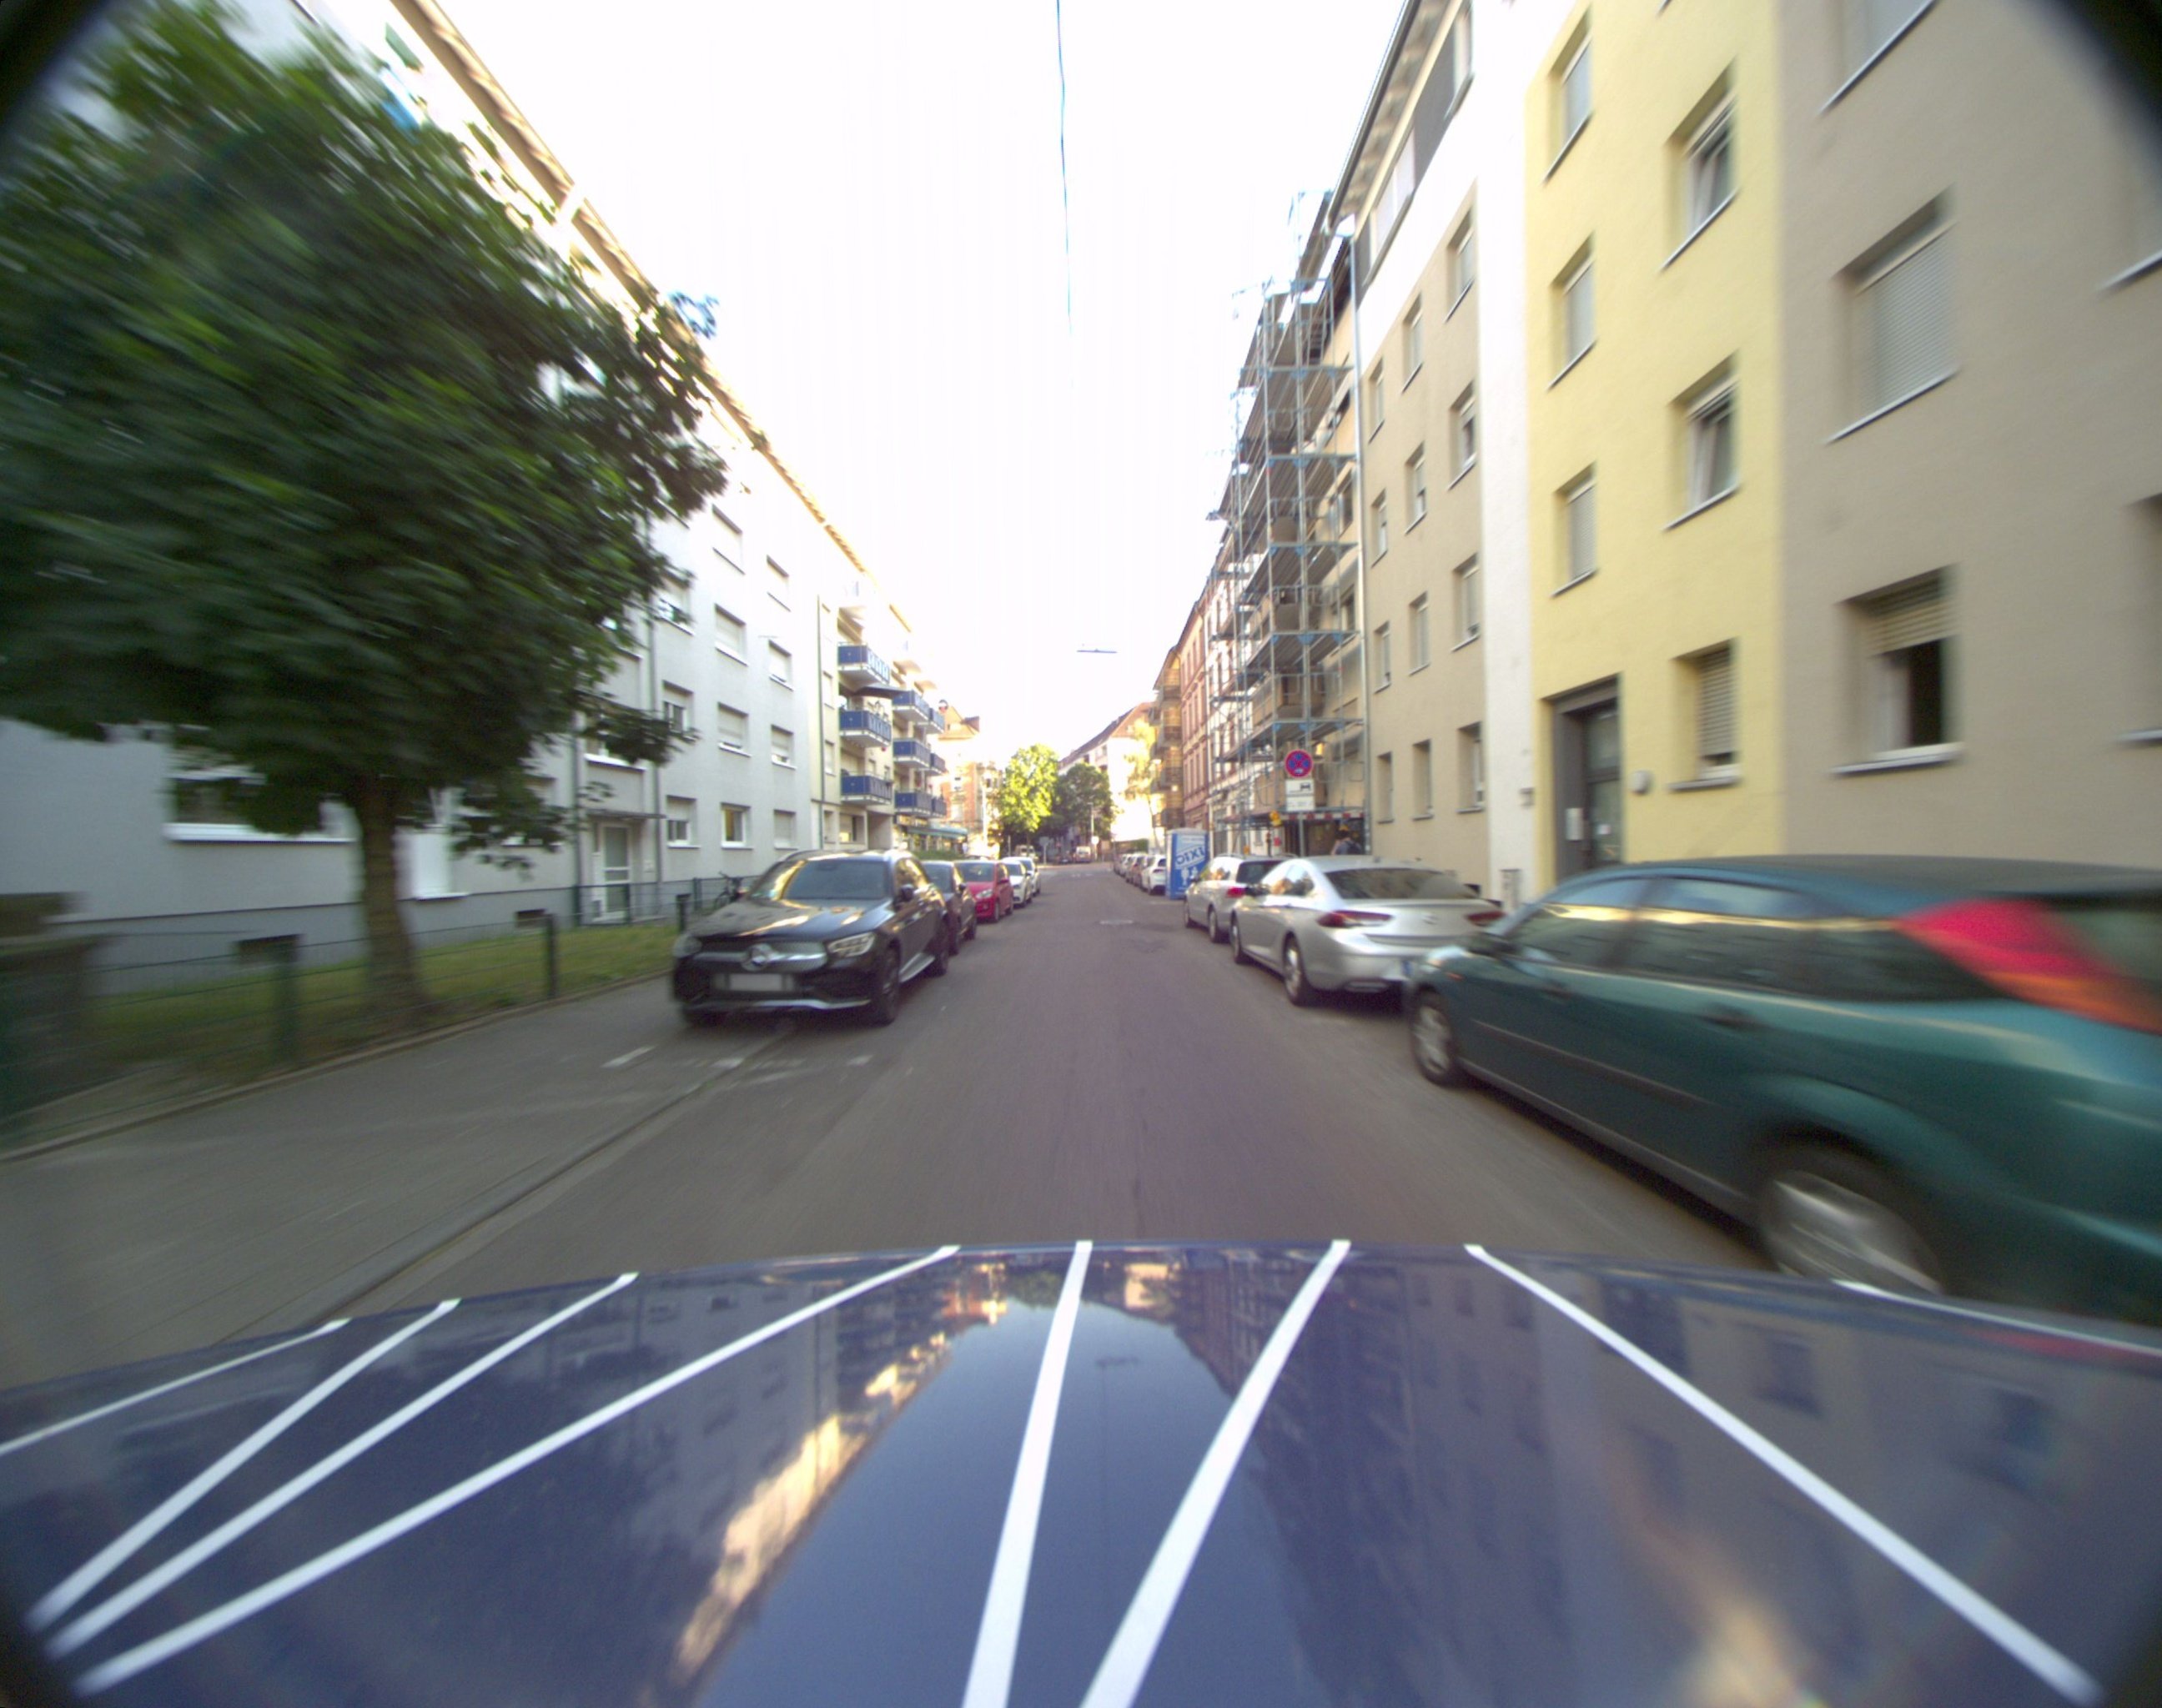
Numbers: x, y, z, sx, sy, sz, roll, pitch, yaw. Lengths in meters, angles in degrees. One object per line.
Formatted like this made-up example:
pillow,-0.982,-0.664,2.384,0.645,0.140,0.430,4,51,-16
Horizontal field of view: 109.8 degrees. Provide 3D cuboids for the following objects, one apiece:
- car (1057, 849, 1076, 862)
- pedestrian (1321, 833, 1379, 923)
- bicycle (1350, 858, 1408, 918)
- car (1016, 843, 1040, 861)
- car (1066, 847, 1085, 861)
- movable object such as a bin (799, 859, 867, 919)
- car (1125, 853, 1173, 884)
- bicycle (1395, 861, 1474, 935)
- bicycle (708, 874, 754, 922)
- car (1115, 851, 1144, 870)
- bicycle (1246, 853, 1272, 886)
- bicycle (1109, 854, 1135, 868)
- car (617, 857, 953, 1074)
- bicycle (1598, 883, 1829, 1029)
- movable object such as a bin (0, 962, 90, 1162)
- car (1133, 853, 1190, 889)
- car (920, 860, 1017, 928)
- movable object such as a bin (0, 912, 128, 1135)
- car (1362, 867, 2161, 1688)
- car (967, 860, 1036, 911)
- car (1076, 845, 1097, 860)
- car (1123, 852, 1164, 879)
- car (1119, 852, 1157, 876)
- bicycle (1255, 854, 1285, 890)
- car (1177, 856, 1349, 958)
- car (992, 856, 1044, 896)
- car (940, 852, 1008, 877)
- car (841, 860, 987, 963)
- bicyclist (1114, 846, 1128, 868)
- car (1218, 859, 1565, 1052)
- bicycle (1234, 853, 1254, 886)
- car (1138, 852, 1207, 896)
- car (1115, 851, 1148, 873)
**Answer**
car,-1.656,0.120,87.298,1.829,1.496,3.997,0,1,-6
pedestrian,5.419,0.458,15.357,0.791,1.750,1.092,0,1,1
bicycle,6.309,0.693,16.190,0.405,1.162,1.816,-4,1,-2
car,-7.011,-0.245,99.906,2.163,2.270,6.200,0,1,-13
car,-0.739,-0.037,96.855,2.081,1.760,4.215,0,1,-6
movable object such as a bin,-6.205,0.863,19.090,1.287,1.428,1.223,0,1,0
car,3.385,0.690,38.352,1.999,1.423,3.999,0,1,-1
bicycle,6.247,0.743,13.525,0.479,1.162,1.732,-4,1,-2
bicycle,-8.697,1.078,18.959,0.602,1.084,1.738,0,1,-10
car,3.765,0.464,60.009,1.999,1.462,3.846,0,1,-1
bicycle,6.560,0.555,28.027,0.405,1.162,1.816,-4,1,-2
bicycle,3.405,0.548,62.487,2.106,1.162,0.567,0,1,-1
car,-2.699,0.879,8.287,1.876,1.626,4.721,0,1,-1
bicycle,6.104,0.916,7.506,0.611,1.162,1.924,0,1,-2
movable object such as a bin,-6.315,1.191,4.314,0.529,1.065,0.625,0,1,0
car,3.424,0.693,33.037,1.999,1.439,3.999,0,1,-1
car,-2.668,0.905,18.837,1.680,1.474,3.652,0,1,3
movable object such as a bin,-7.255,1.066,4.693,1.264,1.313,1.139,0,1,0
car,3.007,0.861,3.537,1.783,1.480,4.420,0,1,0
car,-2.400,0.916,23.777,1.680,1.411,4.135,0,1,1
car,0.578,-0.174,91.092,2.081,1.760,4.215,0,1,-6
car,3.552,0.625,43.773,1.999,1.423,3.999,0,1,-1
car,3.590,0.613,48.443,1.999,1.423,3.999,0,1,-1
bicycle,6.476,0.596,26.095,0.442,1.162,1.816,-4,1,-2
car,3.043,0.799,13.761,1.927,1.480,4.616,0,1,-1
car,-2.404,0.814,29.965,1.680,1.411,4.135,0,1,0
car,-6.619,0.633,47.448,3.997,1.556,1.999,0,1,-2
car,-2.716,0.873,13.141,1.680,1.474,3.652,0,1,1
bicyclist,3.291,0.218,62.470,1.097,1.792,0.567,0,1,-1
car,2.904,0.826,8.394,1.927,1.480,4.616,0,1,0
bicycle,6.475,0.598,30.065,0.490,1.162,1.684,-4,1,19
car,3.317,0.691,28.208,1.999,1.496,3.999,0,1,-1
car,3.577,0.551,54.352,1.999,1.462,3.999,0,1,-1
